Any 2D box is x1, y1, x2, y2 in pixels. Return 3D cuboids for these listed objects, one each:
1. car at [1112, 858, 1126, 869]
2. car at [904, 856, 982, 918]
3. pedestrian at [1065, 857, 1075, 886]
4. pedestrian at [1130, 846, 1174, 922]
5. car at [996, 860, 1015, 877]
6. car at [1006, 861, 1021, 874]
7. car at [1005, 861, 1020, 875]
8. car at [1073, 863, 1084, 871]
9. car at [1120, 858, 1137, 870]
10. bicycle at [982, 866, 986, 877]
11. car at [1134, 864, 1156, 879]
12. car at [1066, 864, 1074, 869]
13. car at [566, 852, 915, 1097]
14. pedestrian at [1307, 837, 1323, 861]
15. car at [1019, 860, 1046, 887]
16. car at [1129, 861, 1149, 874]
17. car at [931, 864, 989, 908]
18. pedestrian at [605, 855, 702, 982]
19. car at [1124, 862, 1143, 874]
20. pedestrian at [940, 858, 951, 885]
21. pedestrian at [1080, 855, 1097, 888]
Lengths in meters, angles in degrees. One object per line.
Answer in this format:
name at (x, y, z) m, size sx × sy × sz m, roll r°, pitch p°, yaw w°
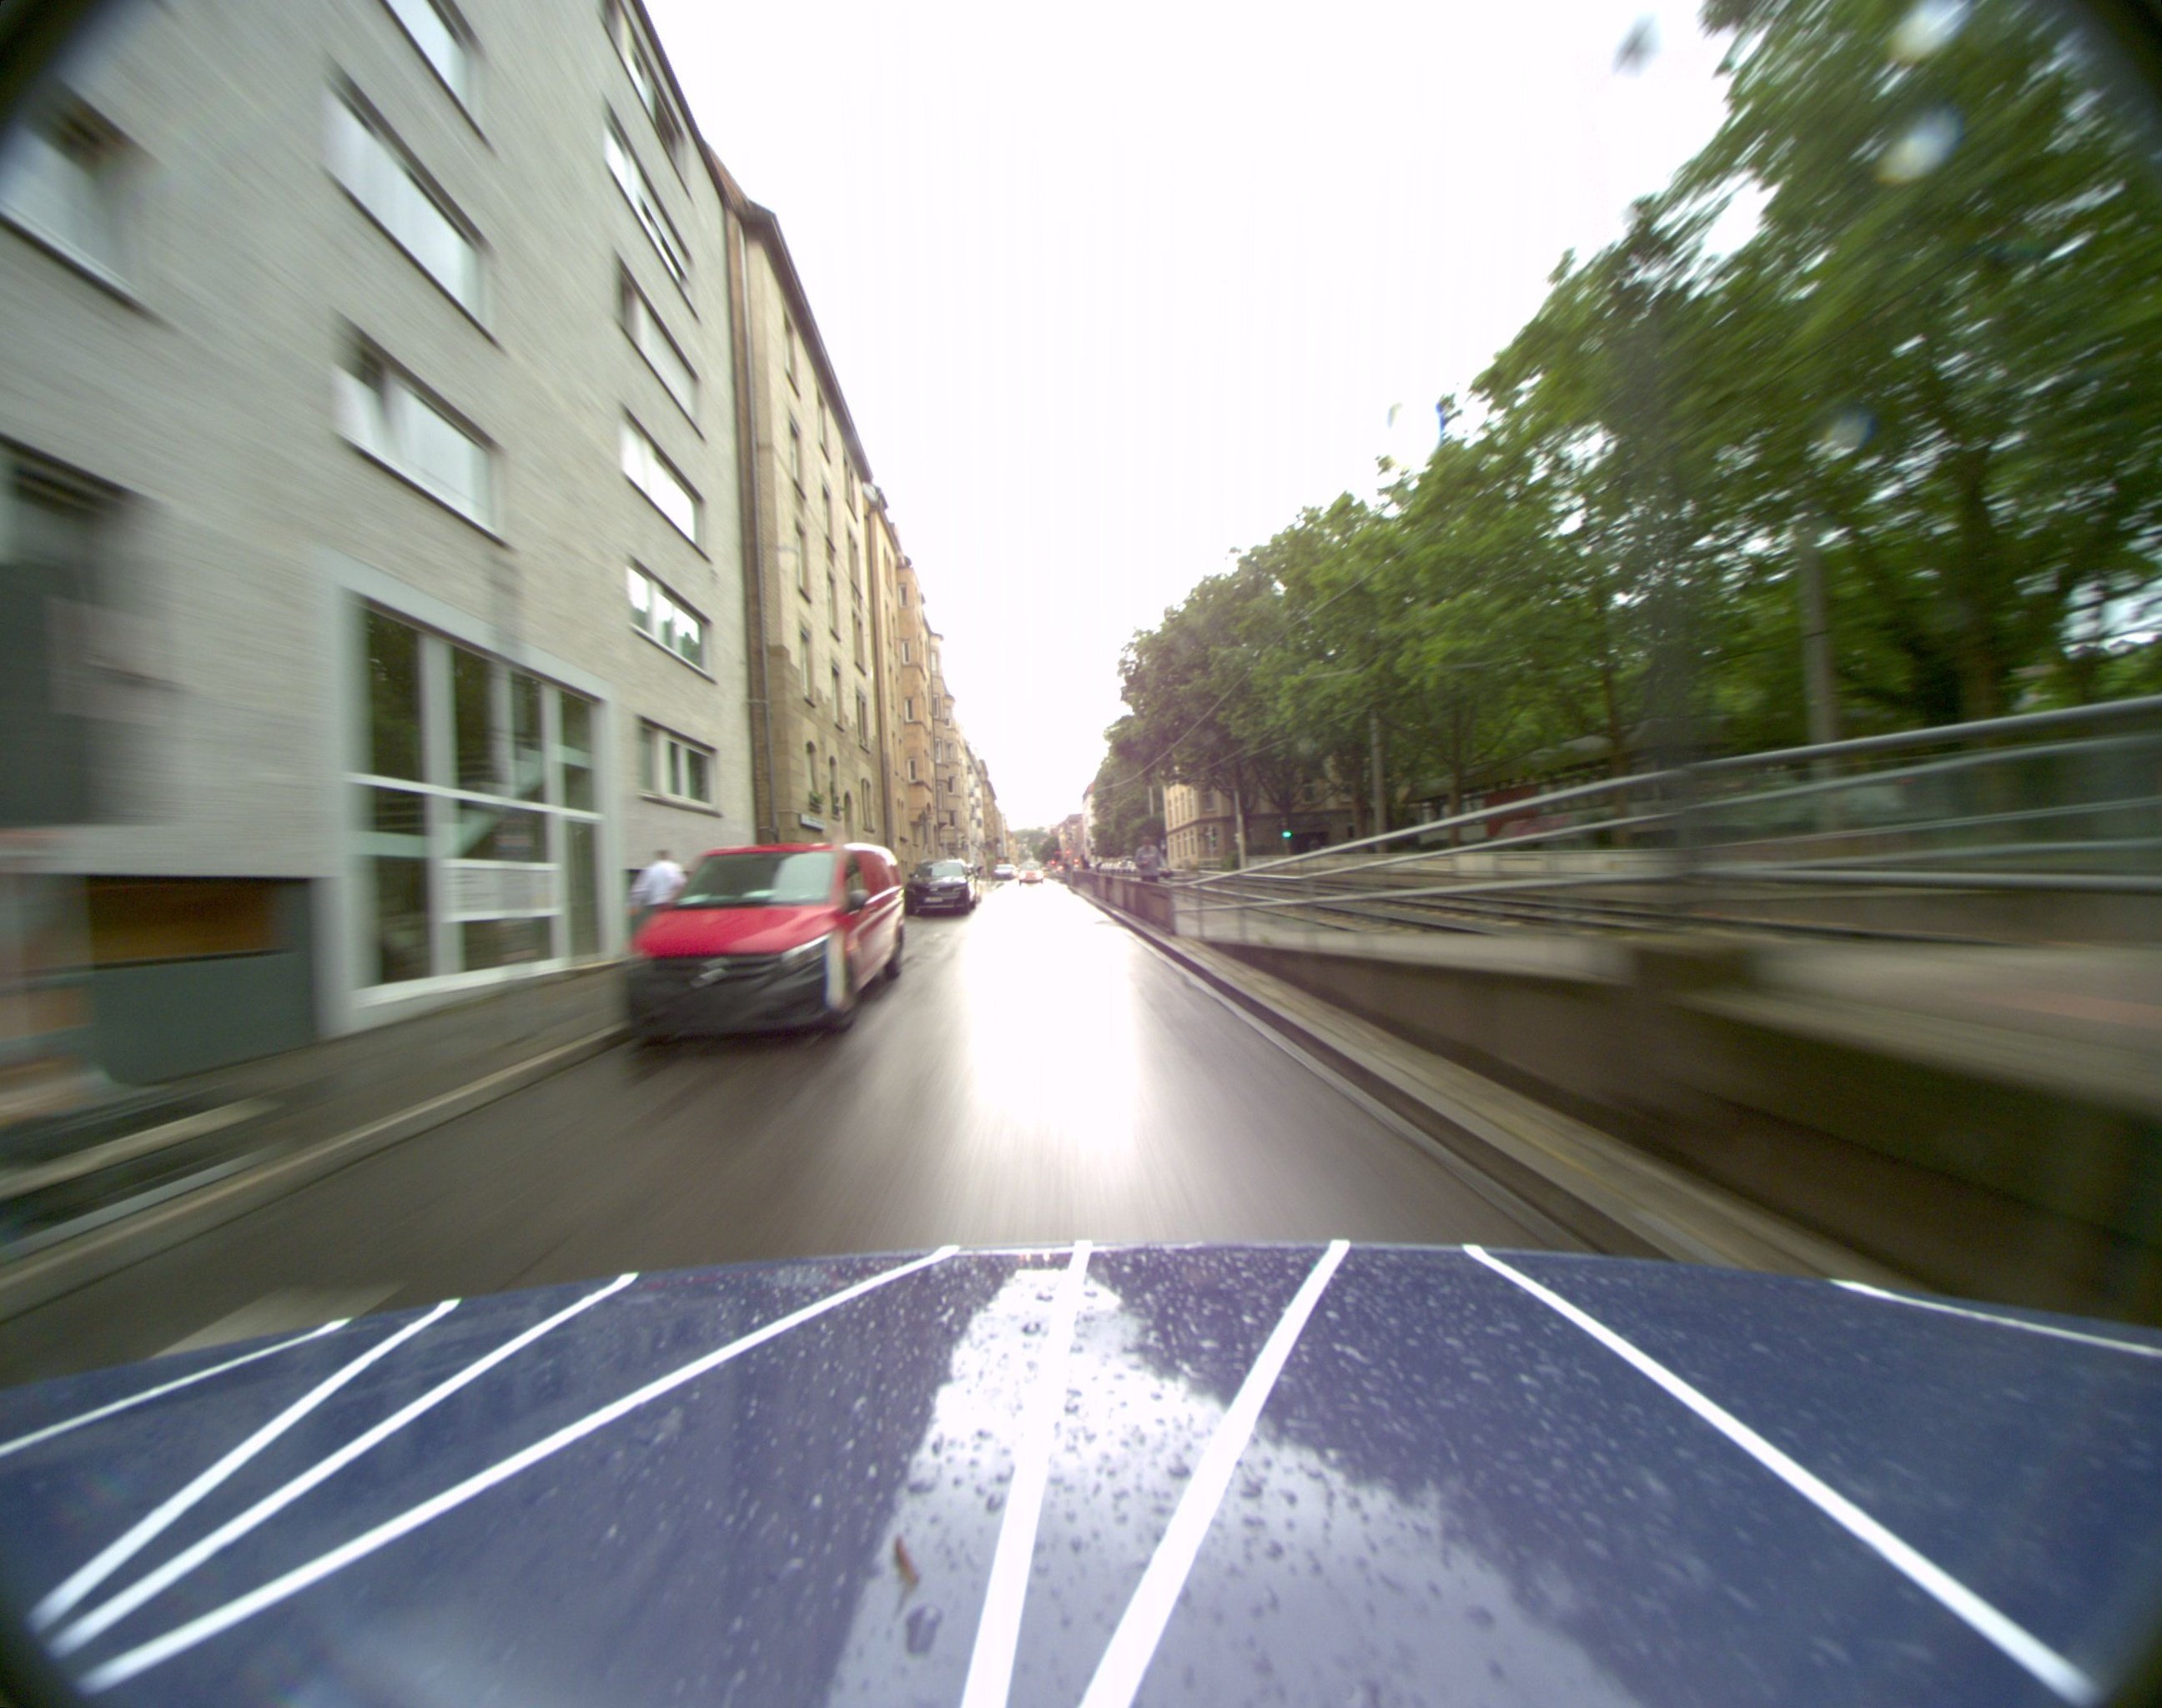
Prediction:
car at (5.382, 1.371, 108.017) m, size 1.403 × 1.499 × 3.313 m, roll -3°, pitch -1°, yaw -7°
car at (-4.271, 0.989, 24.170) m, size 1.770 × 1.698 × 4.498 m, roll -3°, pitch -1°, yaw -3°
pedestrian at (-0.626, 1.033, 43.978) m, size 0.481 × 1.629 × 0.433 m, roll -4°, pitch -1°, yaw -2°
pedestrian at (1.751, 0.732, 18.843) m, size 0.861 × 1.788 × 0.787 m, roll -4°, pitch 0°, yaw -4°
car at (-7.658, 1.468, 77.591) m, size 1.746 × 1.576 × 3.999 m, roll -3°, pitch -1°, yaw -5°
car at (-9.173, 1.794, 103.593) m, size 1.746 × 1.649 × 3.999 m, roll -3°, pitch -1°, yaw -4°
car at (-8.702, 1.791, 96.394) m, size 1.746 × 1.729 × 3.999 m, roll -3°, pitch -1°, yaw -4°
car at (-0.466, 2.529, 147.772) m, size 1.688 × 1.468 × 3.310 m, roll -4°, pitch 0°, yaw -9°
car at (6.098, 1.328, 97.970) m, size 1.484 × 1.392 × 3.281 m, roll -3°, pitch -1°, yaw -6°
bicycle at (-9.585, 1.724, 75.086) m, size 0.340 × 1.008 × 1.675 m, roll -1°, pitch -2°, yaw -3°
car at (7.019, 1.867, 83.859) m, size 1.892 × 1.468 × 3.806 m, roll -4°, pitch 0°, yaw -3°
car at (-2.587, 2.943, 181.886) m, size 1.572 × 1.159 × 2.909 m, roll -3°, pitch -1°, yaw -7°
car at (-3.263, 0.959, 8.676) m, size 1.981 × 1.827 × 5.243 m, roll -3°, pitch 0°, yaw -6°
pedestrian at (17.720, -0.372, 57.656) m, size 0.861 × 1.788 × 0.872 m, roll -4°, pitch 0°, yaw 3°
car at (-3.186, 1.304, 49.397) m, size 1.621 × 1.592 × 4.066 m, roll -3°, pitch -2°, yaw -5°
car at (6.703, 1.636, 88.368) m, size 1.646 × 1.392 × 3.515 m, roll -3°, pitch -1°, yaw -5°
car at (-4.673, 1.201, 29.711) m, size 1.666 × 1.444 × 3.608 m, roll -4°, pitch 1°, yaw -1°
pedestrian at (-6.290, 0.921, 11.232) m, size 0.853 × 1.747 × 0.837 m, roll -4°, pitch 0°, yaw -3°
car at (6.399, 1.747, 93.090) m, size 1.646 × 1.392 × 3.515 m, roll -3°, pitch -1°, yaw -5°
pedestrian at (-8.825, 1.154, 49.512) m, size 0.580 × 1.741 × 0.574 m, roll -2°, pitch -2°, yaw -3°
pedestrian at (0.428, 0.946, 41.178) m, size 0.652 × 1.694 × 0.662 m, roll -4°, pitch 0°, yaw 19°
